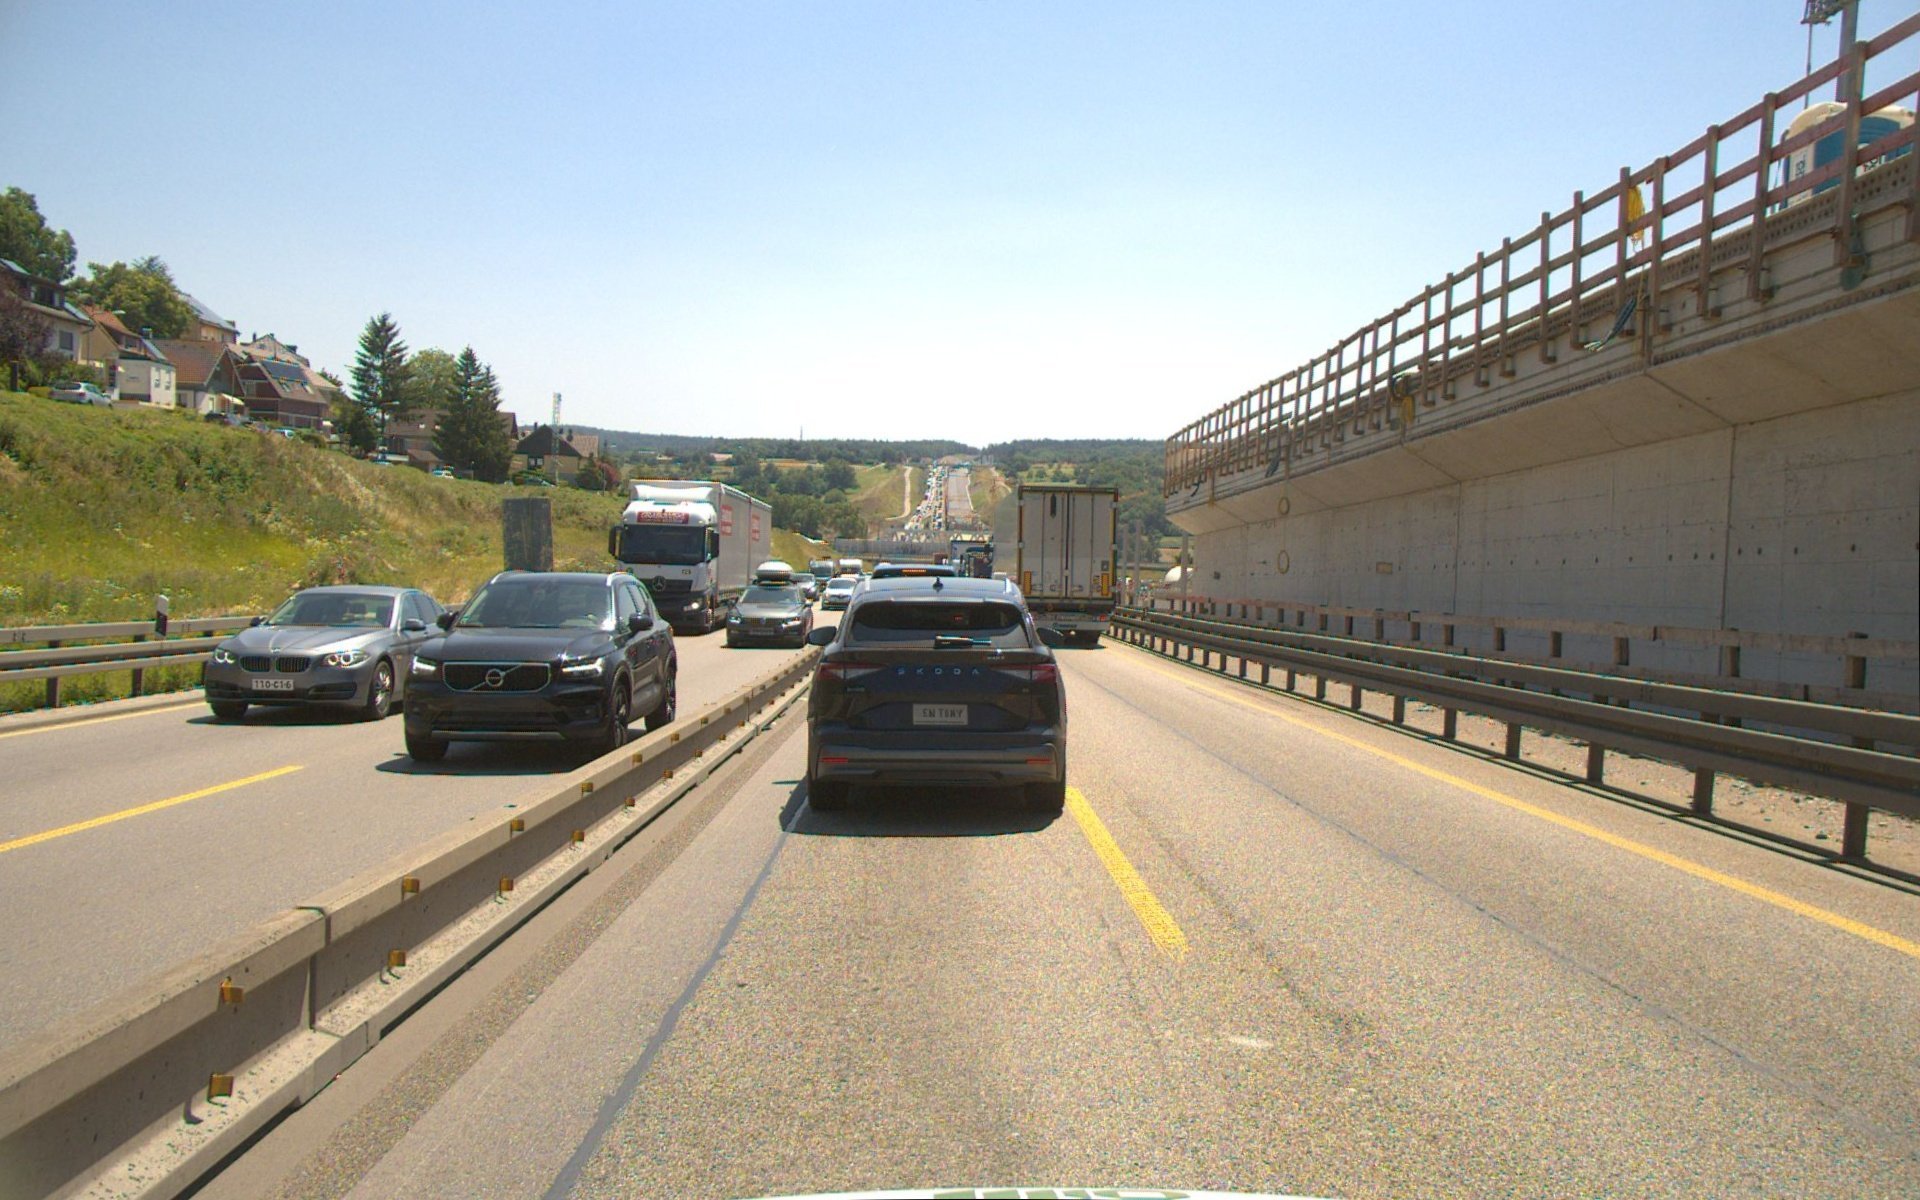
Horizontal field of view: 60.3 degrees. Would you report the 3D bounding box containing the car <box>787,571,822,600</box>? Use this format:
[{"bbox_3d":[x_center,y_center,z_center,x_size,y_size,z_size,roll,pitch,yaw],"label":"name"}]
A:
[{"bbox_3d":[-9.091,-0.866,97.000,1.737,1.609,4.284,2,1,-1],"label":"car"}]

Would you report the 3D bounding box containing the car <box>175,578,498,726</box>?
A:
[{"bbox_3d":[-7.343,0.558,20.166,1.953,1.534,5.299,1,0,-1],"label":"car"}]

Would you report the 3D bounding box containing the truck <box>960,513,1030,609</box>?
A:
[{"bbox_3d":[1.685,-1.853,83.589,3.116,4.592,8.163,1,0,-1],"label":"truck"}]

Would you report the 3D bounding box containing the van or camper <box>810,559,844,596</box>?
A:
[{"bbox_3d":[-9.810,-1.672,122.506,2.097,2.618,6.563,1,1,-2],"label":"van or camper"}]

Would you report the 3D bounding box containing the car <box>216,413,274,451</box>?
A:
[{"bbox_3d":[-45.363,-10.639,104.990,2.137,1.825,4.755,1,0,-8],"label":"car"}]

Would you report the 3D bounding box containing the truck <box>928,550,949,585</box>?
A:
[{"bbox_3d":[-2.819,-4.229,214.943,2.586,4.267,9.281,1,0,-1],"label":"truck"}]

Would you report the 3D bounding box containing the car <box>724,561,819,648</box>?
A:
[{"bbox_3d":[-4.434,0.073,39.513,1.812,1.923,4.500,1,1,-1],"label":"car"}]

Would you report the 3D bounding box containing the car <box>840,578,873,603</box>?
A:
[{"bbox_3d":[-6.227,-0.606,100.039,1.792,1.458,4.628,0,1,-2],"label":"car"}]

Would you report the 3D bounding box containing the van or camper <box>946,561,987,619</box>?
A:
[{"bbox_3d":[0.422,-0.585,99.648,2.339,3.338,6.469,1,0,1],"label":"van or camper"}]

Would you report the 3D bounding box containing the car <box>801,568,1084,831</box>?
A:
[{"bbox_3d":[-0.131,0.618,12.458,1.766,1.635,3.999,1,0,-1],"label":"car"}]

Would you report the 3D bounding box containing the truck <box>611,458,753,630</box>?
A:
[{"bbox_3d":[-7.921,-1.501,48.493,2.568,4.473,10.382,1,0,-1],"label":"truck"}]

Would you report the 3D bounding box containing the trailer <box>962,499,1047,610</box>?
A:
[{"bbox_3d":[1.868,-1.868,76.542,3.116,4.592,14.962,1,0,-1],"label":"trailer"}]

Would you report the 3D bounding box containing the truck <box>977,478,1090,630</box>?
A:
[{"bbox_3d":[2.294,-1.502,54.758,3.116,4.591,8.164,1,1,-1],"label":"truck"}]

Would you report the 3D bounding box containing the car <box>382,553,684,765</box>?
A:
[{"bbox_3d":[-3.848,0.473,15.608,1.832,1.713,3.999,1,0,-1],"label":"car"}]

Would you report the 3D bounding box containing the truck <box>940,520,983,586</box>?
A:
[{"bbox_3d":[0.044,-3.434,125.022,2.795,4.543,11.912,1,0,-2],"label":"truck"}]

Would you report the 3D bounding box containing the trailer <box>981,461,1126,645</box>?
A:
[{"bbox_3d":[2.448,-1.325,48.291,3.116,4.591,13.106,1,1,-1],"label":"trailer"}]

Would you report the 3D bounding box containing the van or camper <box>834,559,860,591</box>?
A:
[{"bbox_3d":[-11.314,-2.506,166.387,2.245,3.120,6.922,1,1,-1],"label":"van or camper"}]

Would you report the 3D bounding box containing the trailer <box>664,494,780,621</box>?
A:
[{"bbox_3d":[-8.198,-1.402,58.024,2.869,4.058,8.705,1,0,-1],"label":"trailer"}]

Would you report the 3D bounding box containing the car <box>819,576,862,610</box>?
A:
[{"bbox_3d":[-5.440,-0.348,75.897,1.766,1.489,3.999,1,1,-2],"label":"car"}]

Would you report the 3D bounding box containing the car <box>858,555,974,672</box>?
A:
[{"bbox_3d":[-0.810,0.232,30.411,1.953,1.959,4.506,1,0,-2],"label":"car"}]

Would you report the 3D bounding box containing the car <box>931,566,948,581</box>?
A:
[{"bbox_3d":[-2.304,-2.965,185.299,1.776,1.629,4.572,1,1,-1],"label":"car"}]

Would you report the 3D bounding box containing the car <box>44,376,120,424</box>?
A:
[{"bbox_3d":[-42.905,-9.746,80.918,1.956,1.825,3.993,1,0,-8],"label":"car"}]

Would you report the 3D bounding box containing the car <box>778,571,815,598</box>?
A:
[{"bbox_3d":[-9.581,-0.870,96.916,1.954,1.500,3.997,1,0,-3],"label":"car"}]
